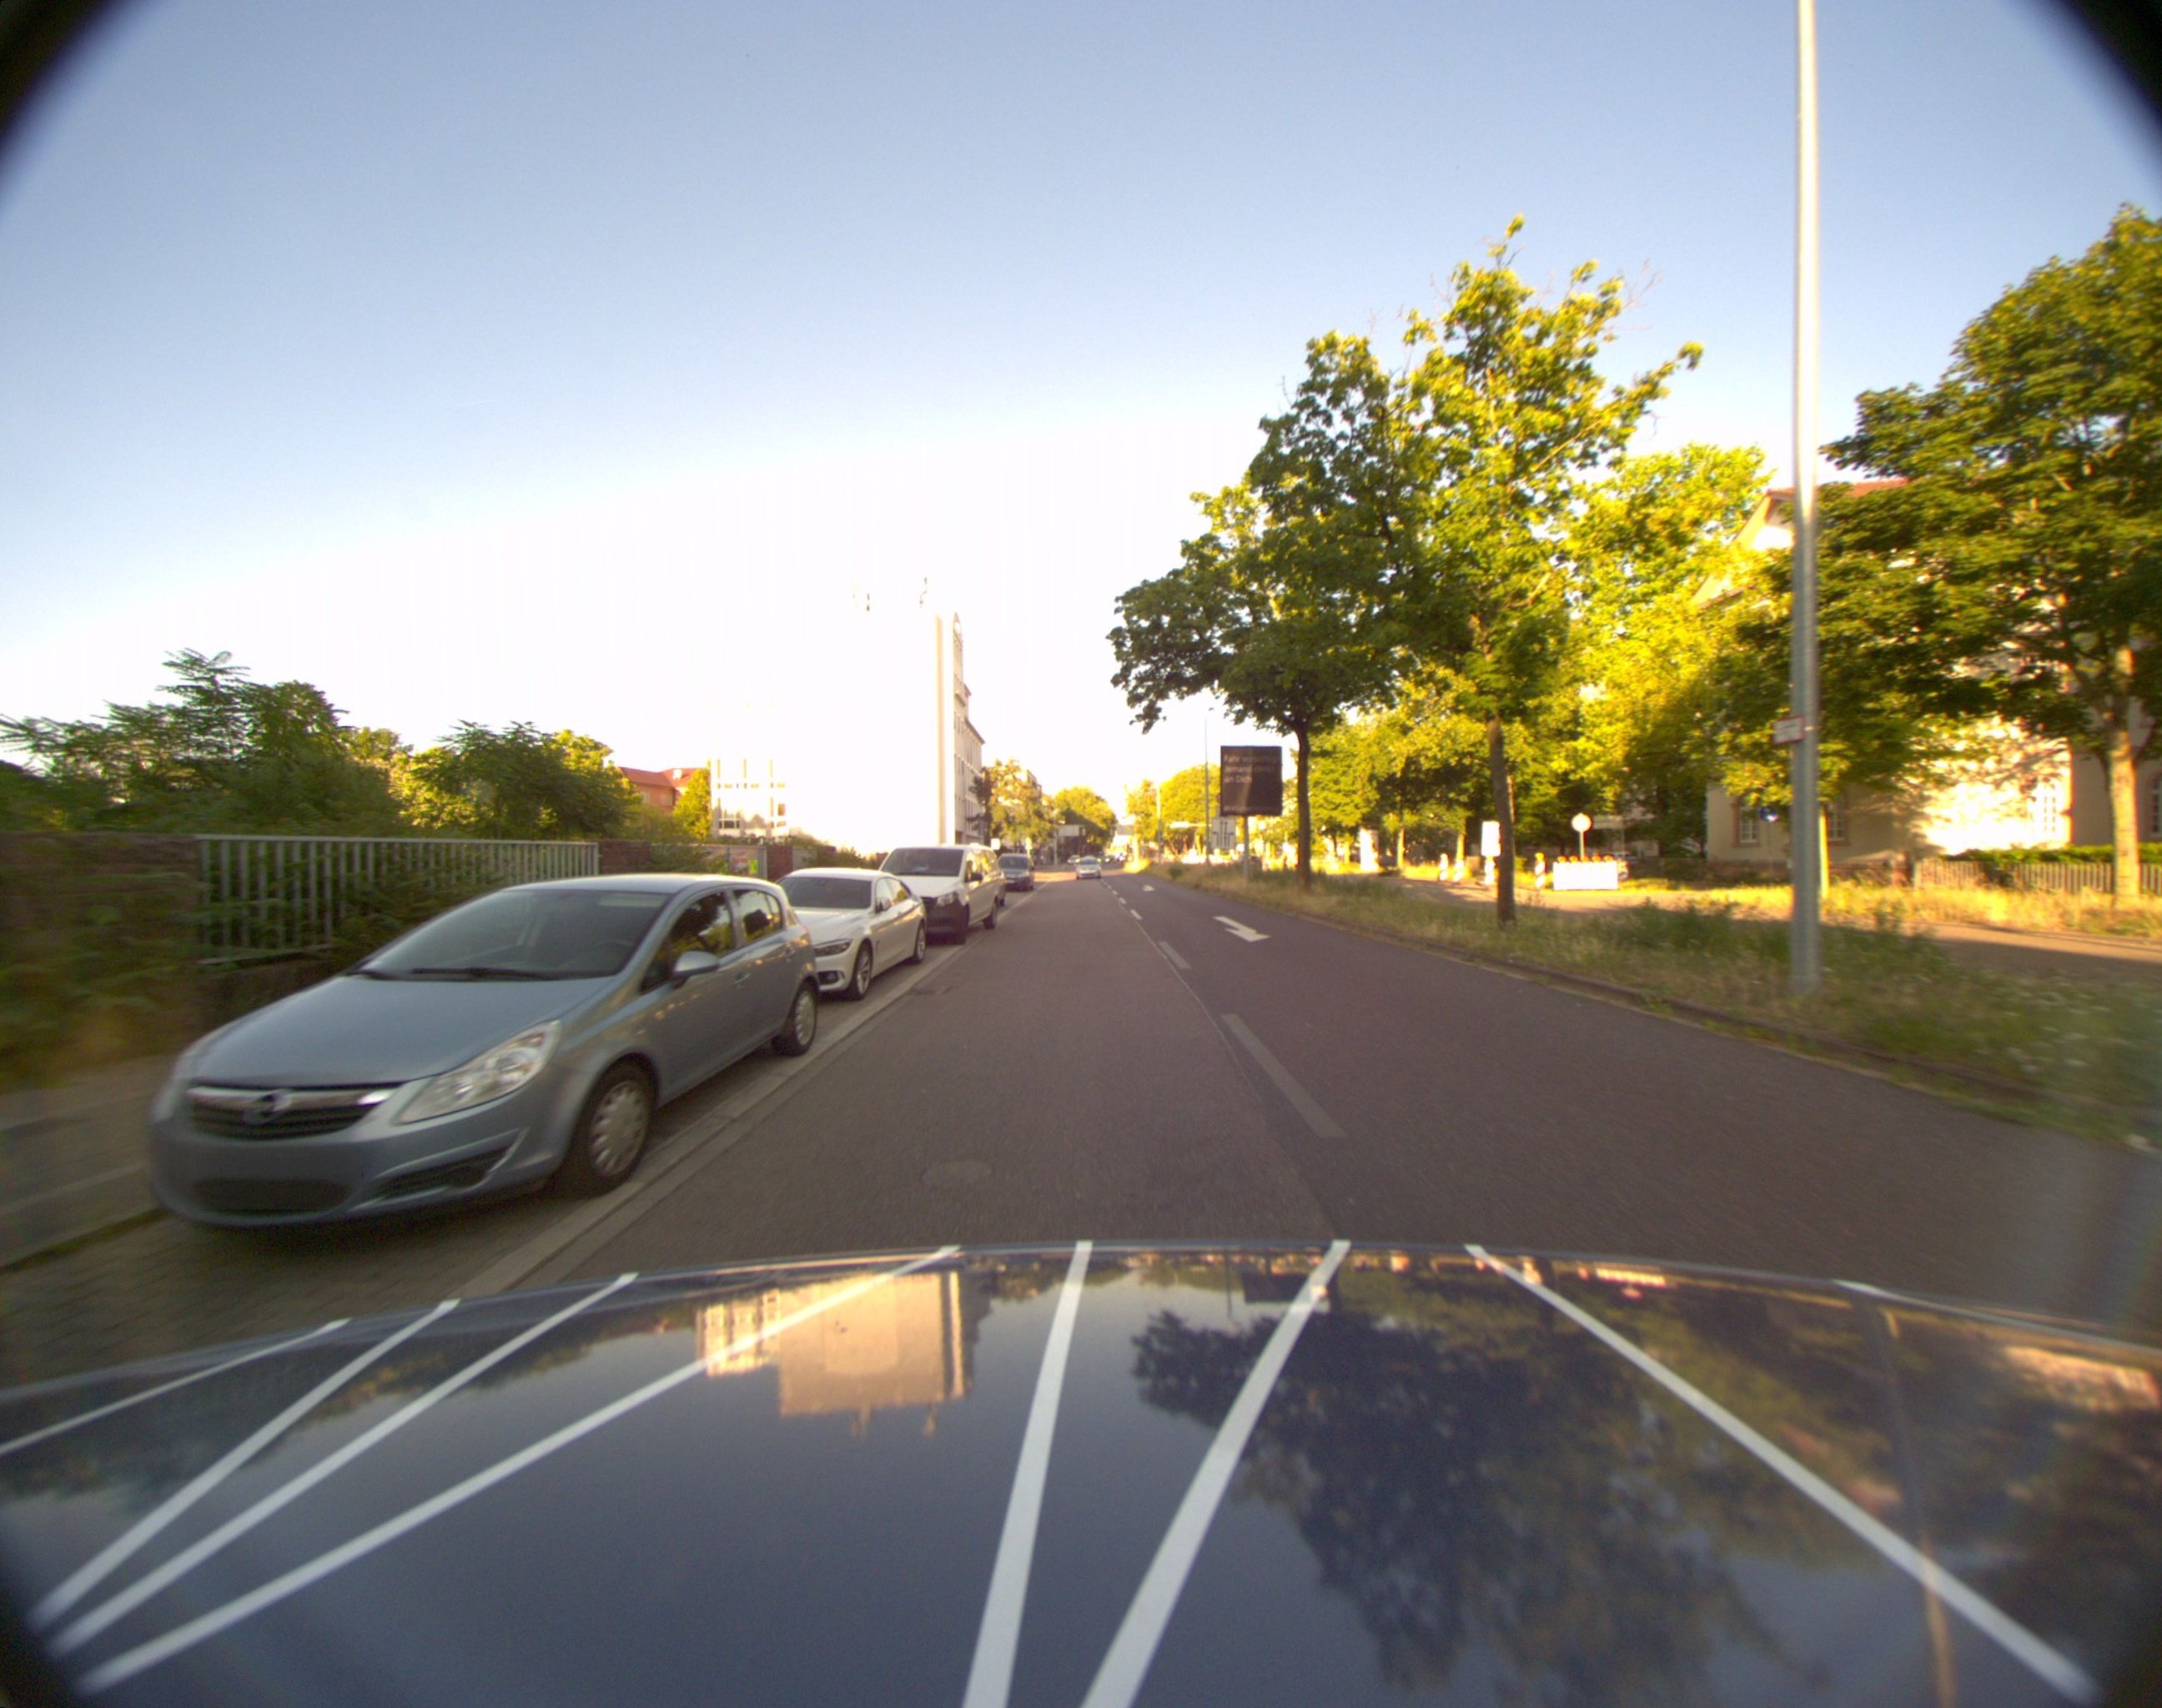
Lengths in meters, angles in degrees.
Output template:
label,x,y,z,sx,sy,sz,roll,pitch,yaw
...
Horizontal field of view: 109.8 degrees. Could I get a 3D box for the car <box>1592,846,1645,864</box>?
label,x,y,z,sx,sy,sz,roll,pitch,yaw
car,46.041,0.069,65.142,1.698,1.368,4.000,-3,0,1

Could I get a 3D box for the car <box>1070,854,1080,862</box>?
label,x,y,z,sx,sy,sz,roll,pitch,yaw
car,-1.150,0.772,145.412,1.948,1.514,4.163,0,0,0

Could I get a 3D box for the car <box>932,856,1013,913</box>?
label,x,y,z,sx,sy,sz,roll,pitch,yaw
car,-3.311,0.874,23.979,1.778,1.565,4.499,2,0,1

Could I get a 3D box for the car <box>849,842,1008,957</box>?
label,x,y,z,sx,sy,sz,roll,pitch,yaw
car,-2.878,0.776,15.699,1.891,1.907,5.180,2,0,3

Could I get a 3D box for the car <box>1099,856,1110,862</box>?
label,x,y,z,sx,sy,sz,roll,pitch,yaw
car,4.439,0.942,144.417,1.948,1.259,4.163,0,0,0

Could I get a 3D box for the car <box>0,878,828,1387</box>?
label,x,y,z,sx,sy,sz,roll,pitch,yaw
car,-2.995,0.992,4.454,1.705,1.479,3.892,2,0,-1

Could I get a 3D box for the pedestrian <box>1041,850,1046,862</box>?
label,x,y,z,sx,sy,sz,roll,pitch,yaw
pedestrian,-5.831,0.312,119.252,0.721,1.834,0.748,0,0,-4

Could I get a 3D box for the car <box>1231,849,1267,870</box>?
label,x,y,z,sx,sy,sz,roll,pitch,yaw
car,12.508,0.381,56.767,1.778,1.409,4.008,2,0,1

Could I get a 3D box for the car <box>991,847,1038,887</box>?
label,x,y,z,sx,sy,sz,roll,pitch,yaw
car,-3.206,0.606,37.481,1.778,1.818,4.555,2,0,1

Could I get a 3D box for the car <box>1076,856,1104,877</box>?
label,x,y,z,sx,sy,sz,roll,pitch,yaw
car,0.654,0.850,55.207,1.895,1.455,3.966,0,0,1

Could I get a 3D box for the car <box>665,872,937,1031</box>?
label,x,y,z,sx,sy,sz,roll,pitch,yaw
car,-3.245,1.034,9.933,1.732,1.377,4.642,2,0,1
